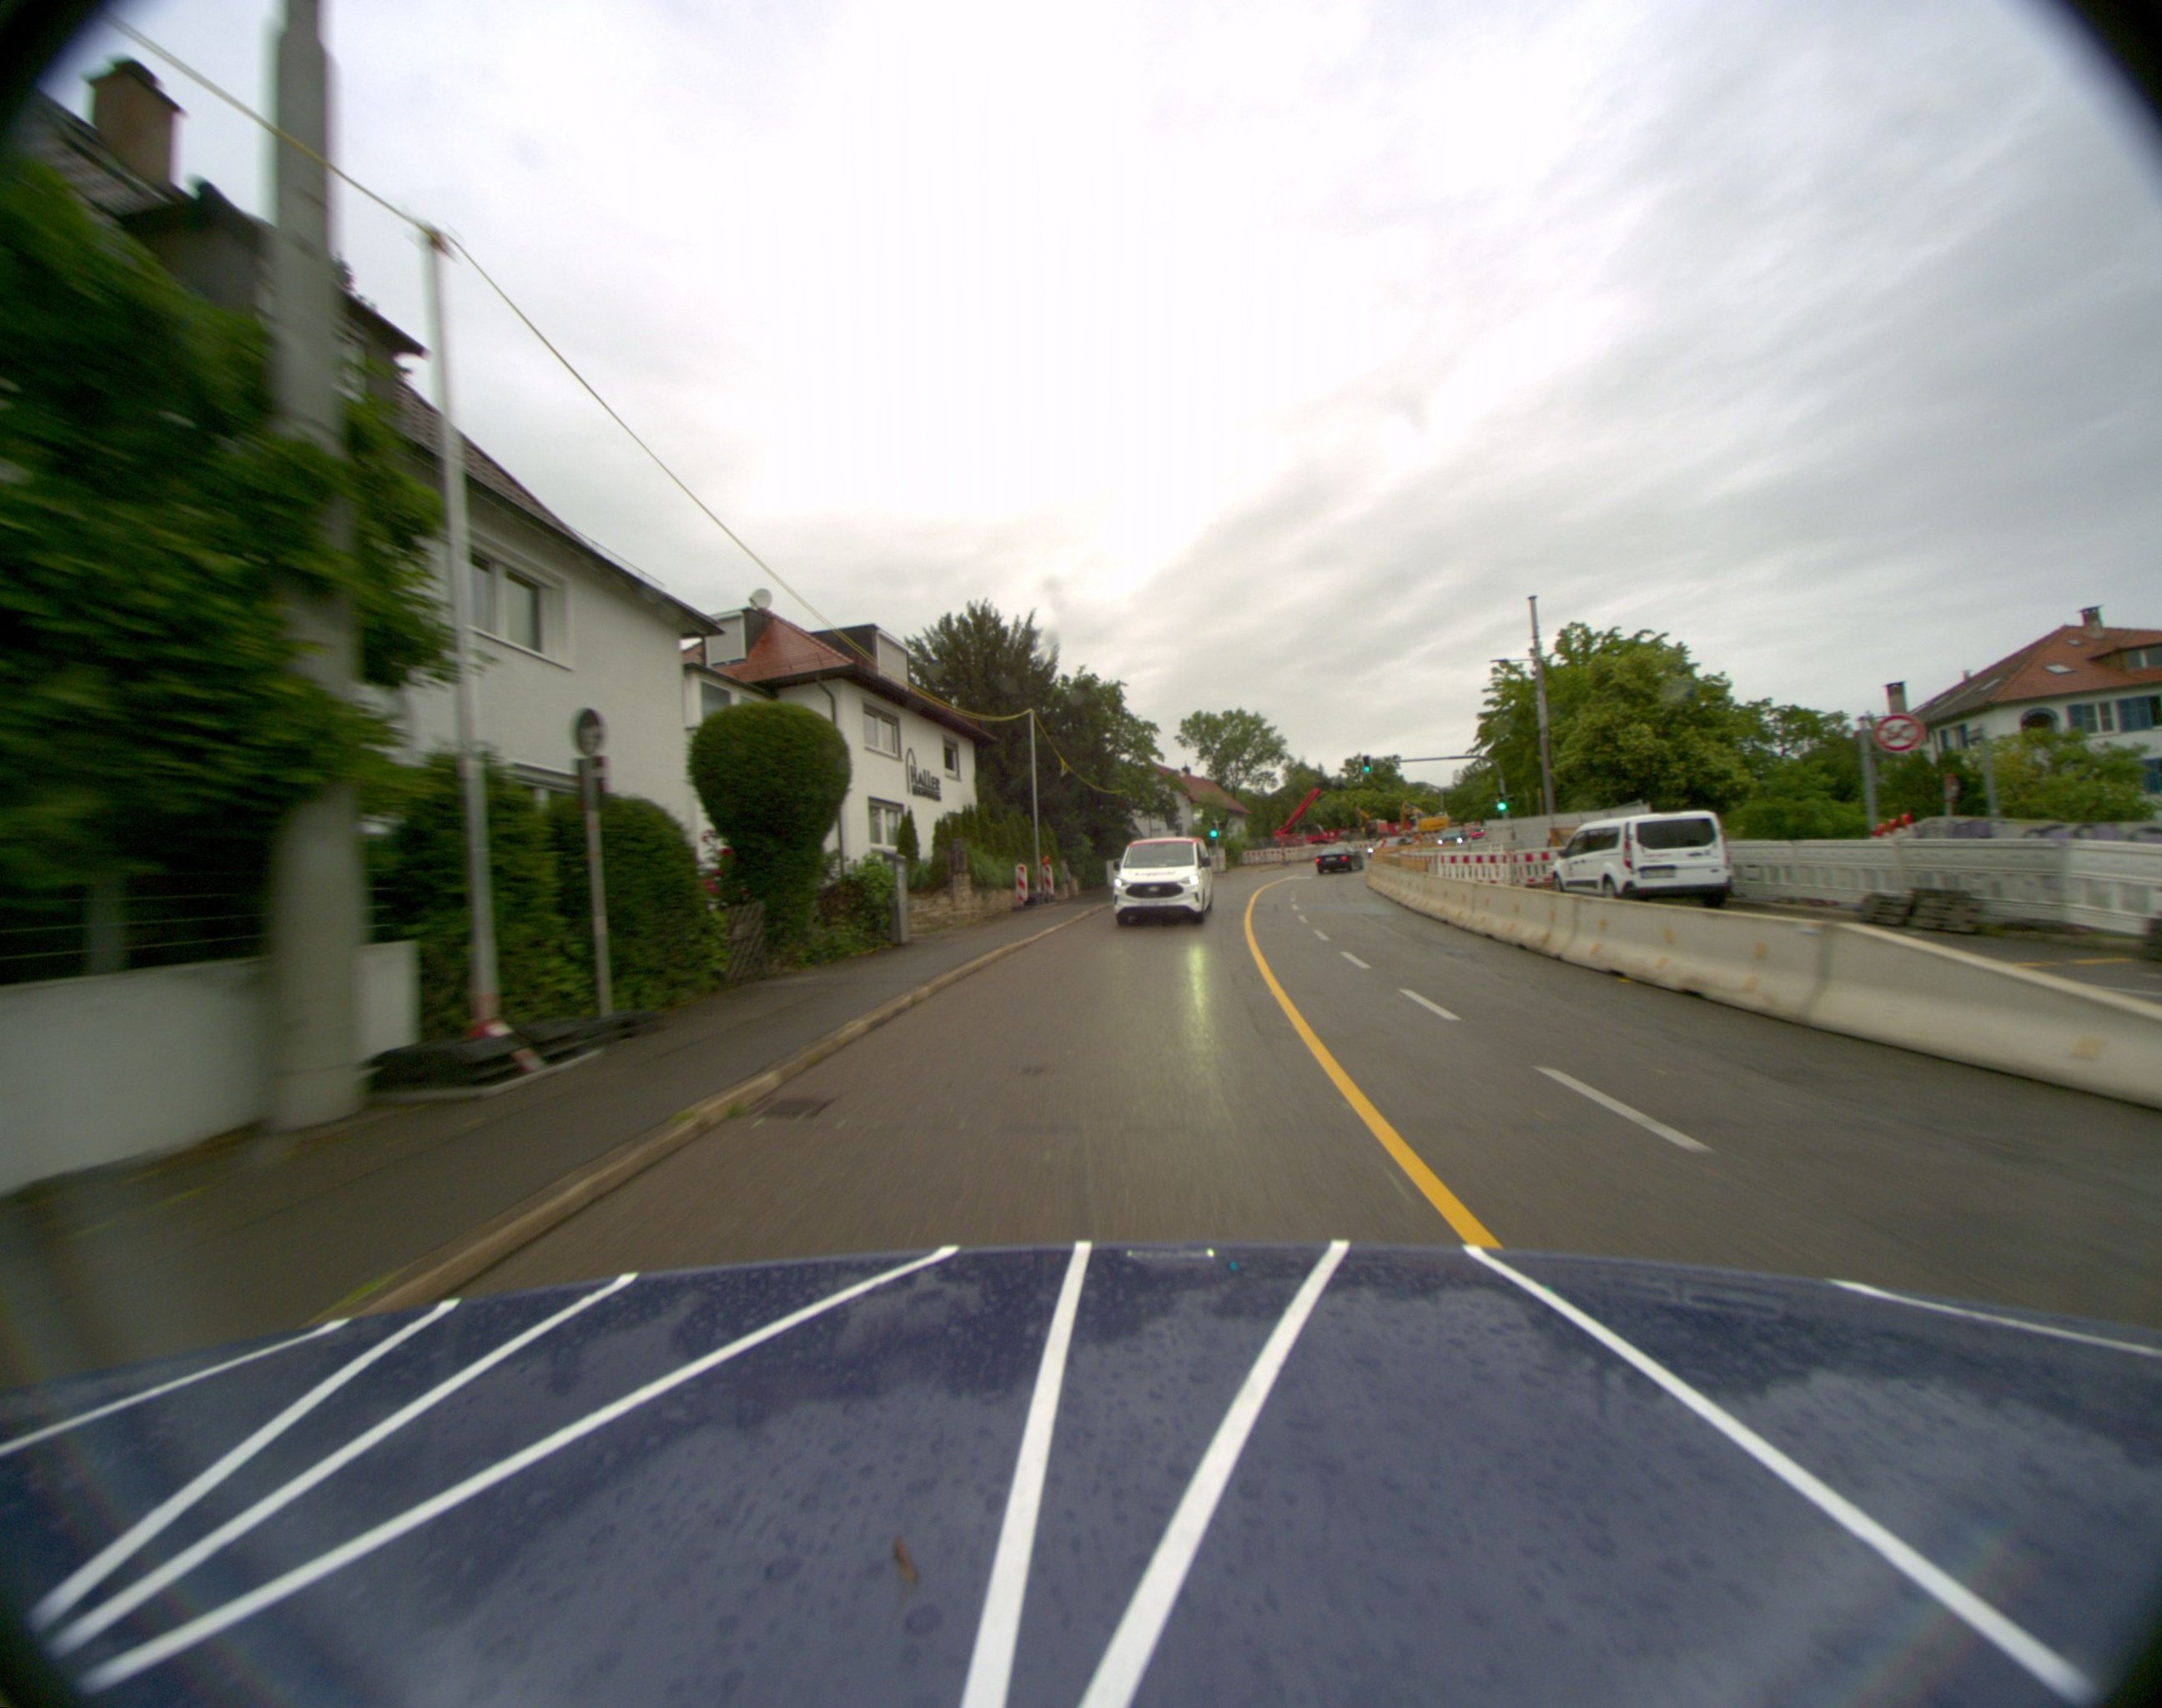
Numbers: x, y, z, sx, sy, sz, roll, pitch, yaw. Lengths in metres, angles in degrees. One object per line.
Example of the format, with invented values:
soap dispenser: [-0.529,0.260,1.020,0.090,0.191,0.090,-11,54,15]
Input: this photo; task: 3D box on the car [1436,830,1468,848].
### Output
car: [33.112,-1.363,67.781,1.985,1.451,4.523,-2,1,33]

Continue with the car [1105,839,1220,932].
car: [2.111,0.642,18.364,2.039,1.928,4.519,-2,0,15]

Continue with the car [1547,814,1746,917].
car: [11.401,0.211,15.747,1.807,1.790,4.468,-2,0,16]

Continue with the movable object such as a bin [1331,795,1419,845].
movable object such as a bin: [32.473,-3.694,84.160,8.304,5.025,3.331,-2,1,40]

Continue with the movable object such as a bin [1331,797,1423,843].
movable object such as a bin: [37.263,-4.257,95.186,13.558,5.168,5.242,-3,1,-43]

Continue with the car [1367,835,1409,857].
car: [22.606,-0.595,55.827,1.985,1.451,4.523,-2,1,33]

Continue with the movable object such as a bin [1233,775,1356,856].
movable object such as a bin: [19.283,-3.293,68.326,9.033,6.514,7.049,-2,1,30]

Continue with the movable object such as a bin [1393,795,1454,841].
movable object such as a bin: [39.649,-4.043,88.388,3.320,4.973,9.856,-2,1,5]

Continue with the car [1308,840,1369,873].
car: [13.246,0.107,38.892,1.985,1.428,4.522,-2,1,31]
